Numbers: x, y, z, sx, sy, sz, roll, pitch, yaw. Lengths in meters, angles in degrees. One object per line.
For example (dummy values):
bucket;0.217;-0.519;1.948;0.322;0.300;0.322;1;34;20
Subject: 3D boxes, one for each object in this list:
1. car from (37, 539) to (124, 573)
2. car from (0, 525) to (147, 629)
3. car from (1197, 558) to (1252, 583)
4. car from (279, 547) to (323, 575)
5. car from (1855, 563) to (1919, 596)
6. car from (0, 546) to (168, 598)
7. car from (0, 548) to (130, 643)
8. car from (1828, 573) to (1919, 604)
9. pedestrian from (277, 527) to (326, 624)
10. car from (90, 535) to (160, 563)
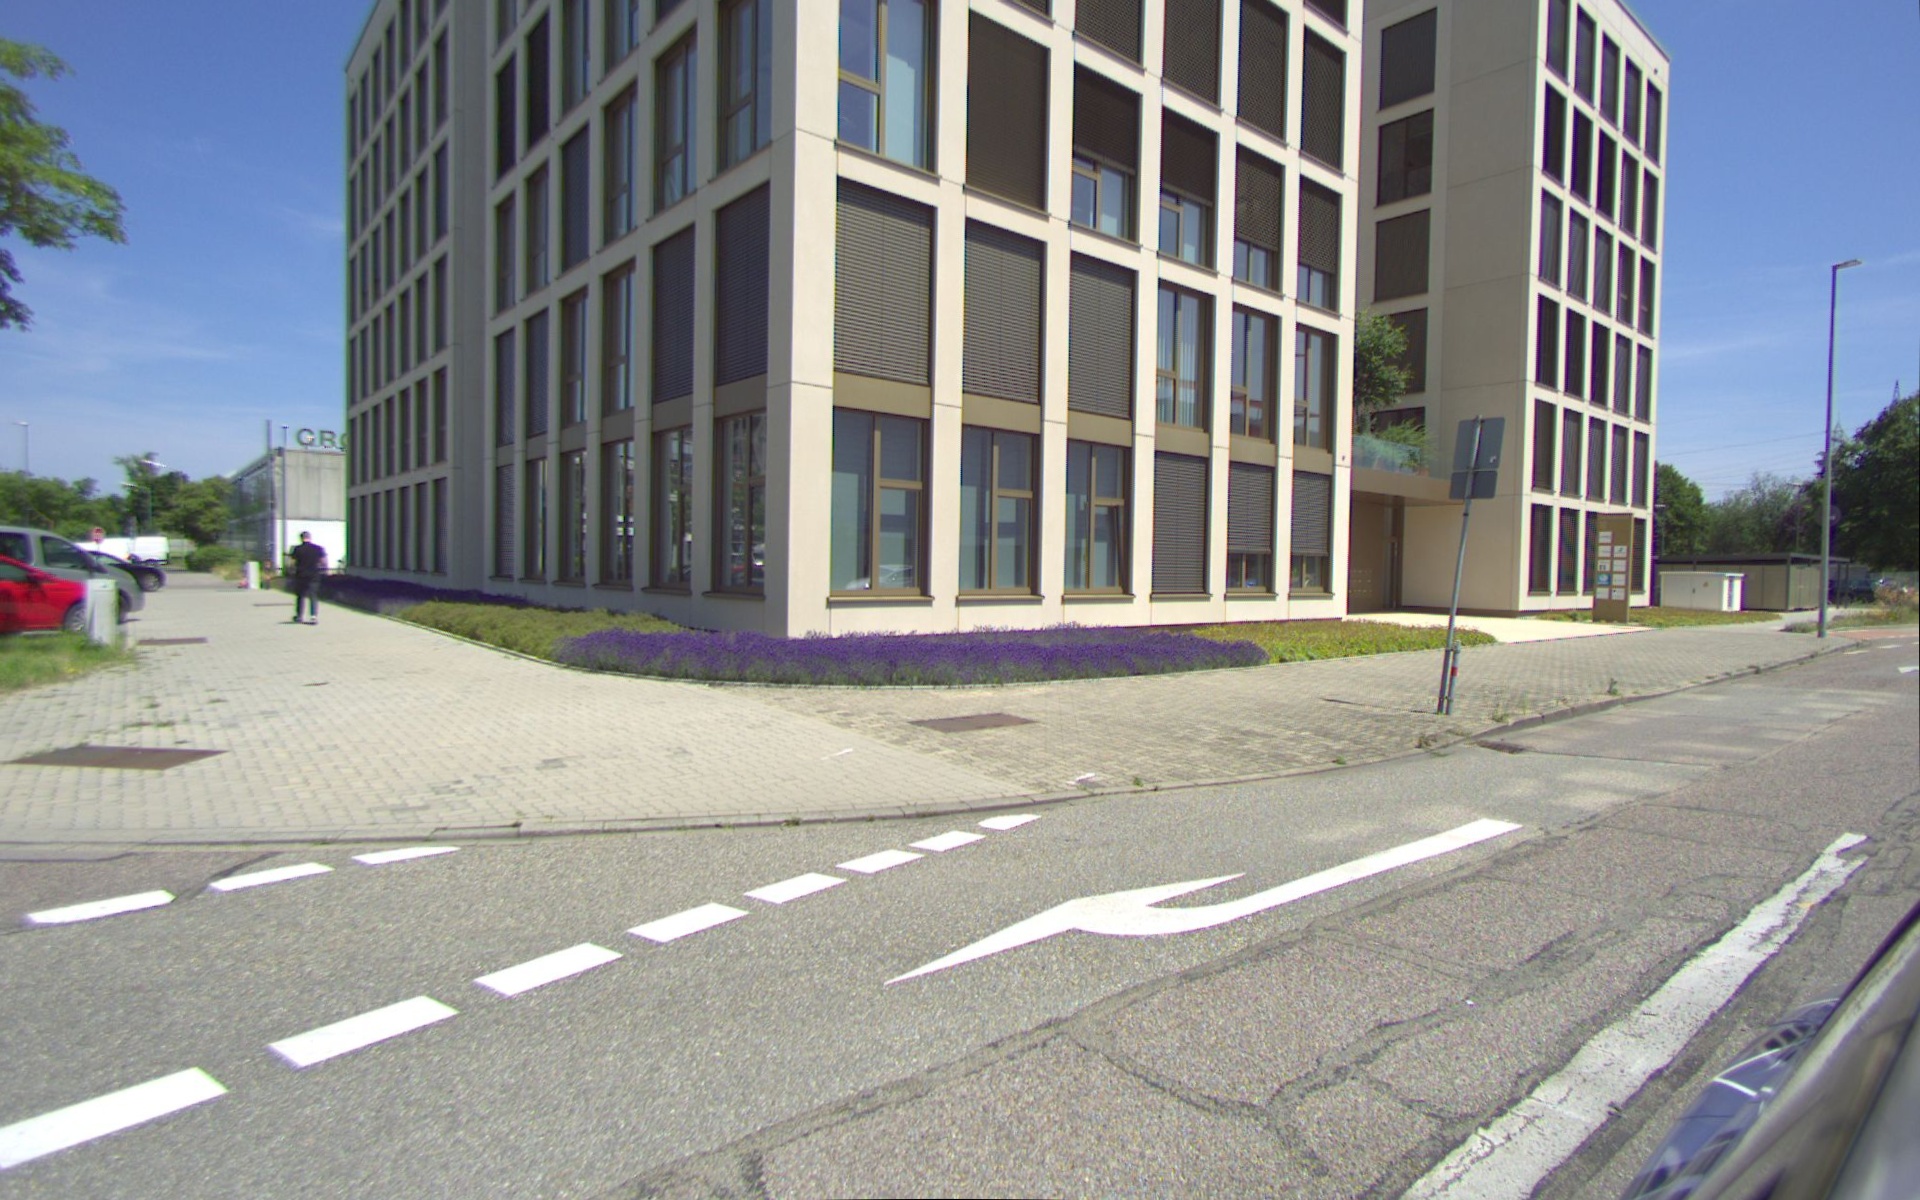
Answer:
car;-54.951;-2.715;63.352;3.925;2.038;2.000;0;2;-36
car;-17.796;-0.438;18.435;1.676;1.838;4.899;1;2;7
car;21.081;-2.363;80.582;3.921;1.874;2.002;0;2;-31
car;-37.953;-2.278;58.259;1.758;1.540;3.574;-1;3;-39
car;59.200;-1.301;63.561;3.958;1.977;1.984;2;2;25
car;-29.103;-0.976;33.577;1.792;1.557;4.131;0;3;19
car;-15.377;-0.083;15.577;1.584;1.452;3.991;1;2;9
car;55.700;-0.723;61.580;3.960;1.682;1.822;2;3;26
pedestrian;-12.948;-0.498;19.937;0.758;1.867;0.869;-1;3;-32
car;-67.480;-4.085;81.854;4.280;2.146;2.094;0;2;-37
